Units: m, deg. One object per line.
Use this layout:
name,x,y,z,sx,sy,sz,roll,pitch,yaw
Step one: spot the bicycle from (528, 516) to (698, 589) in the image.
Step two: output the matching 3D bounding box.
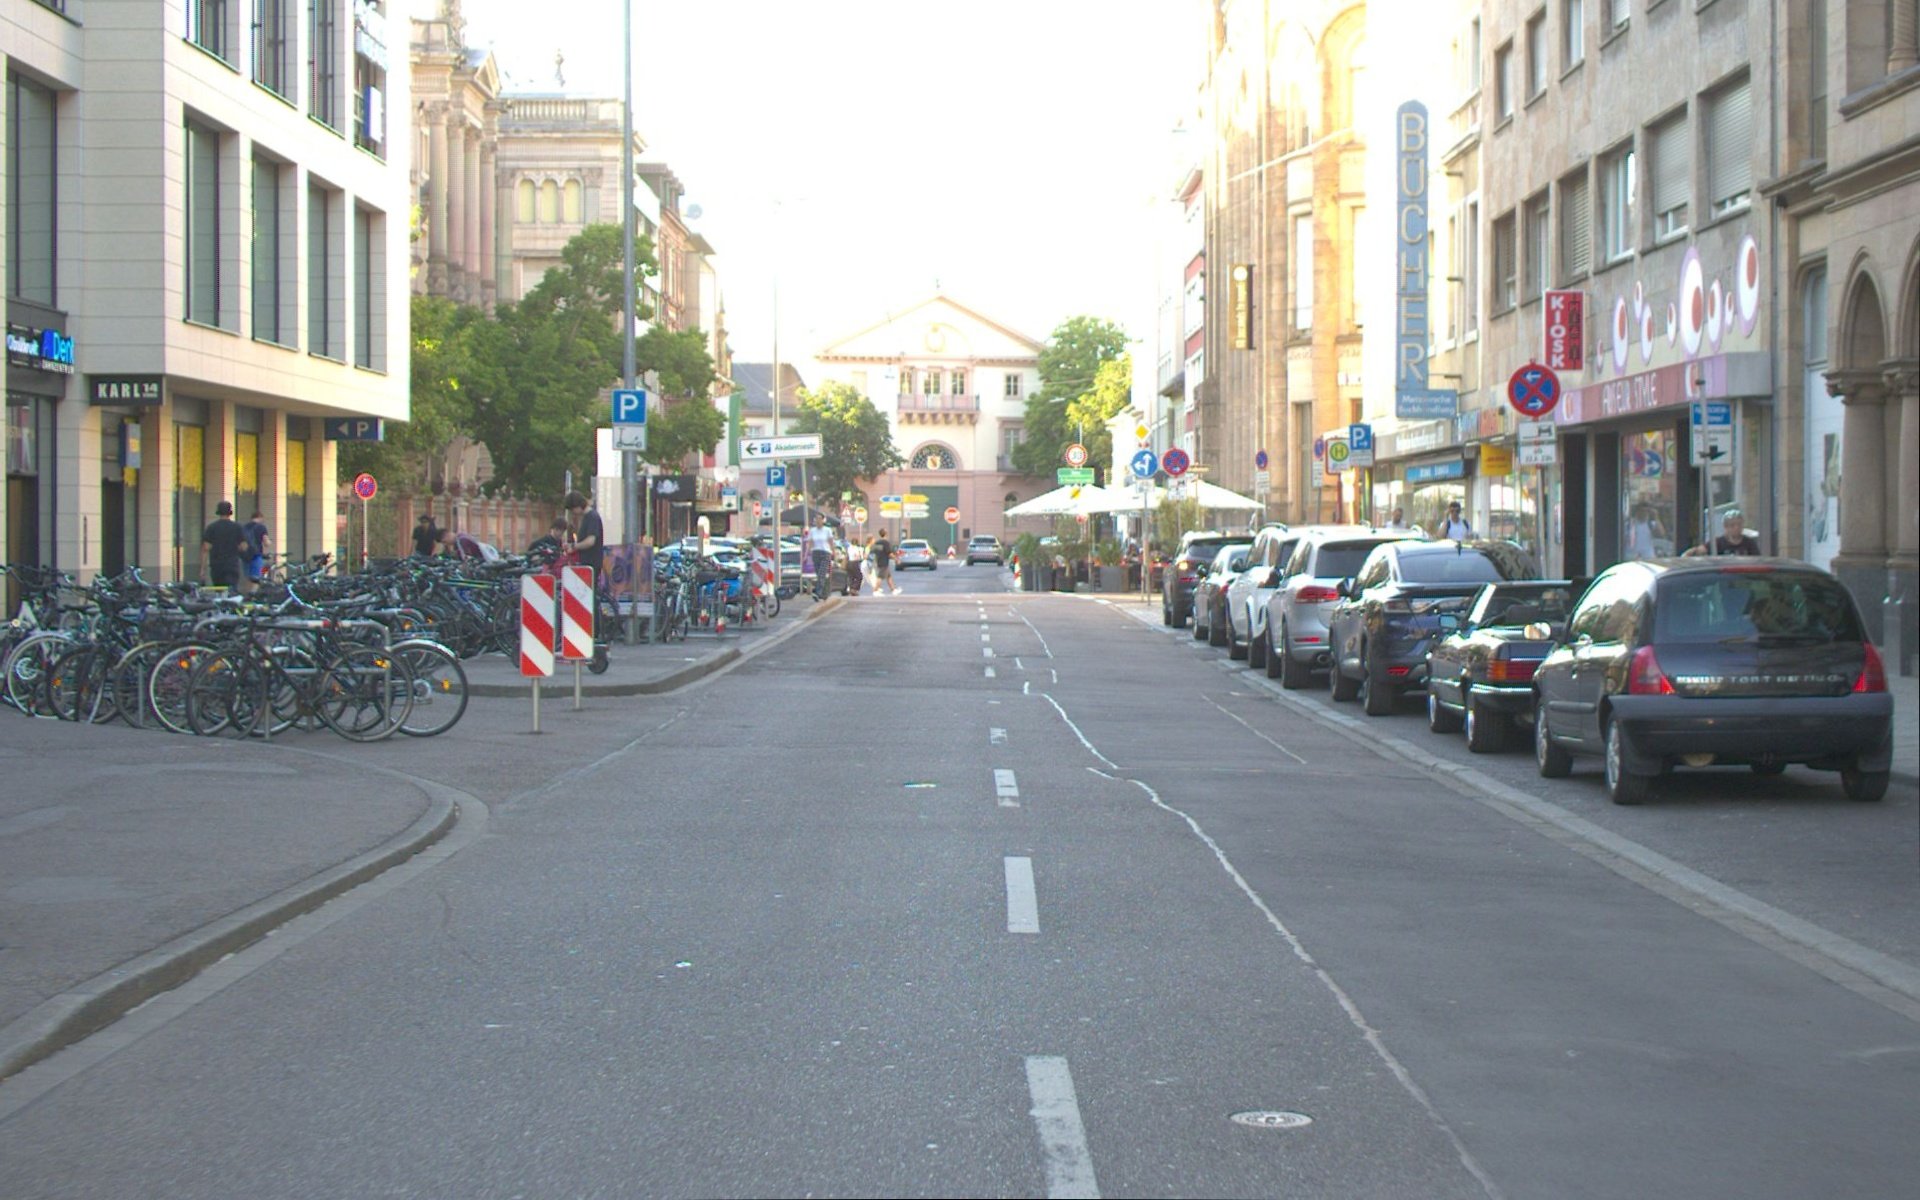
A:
bicycle,-4.546,-0.627,45.139,2.148,0.950,0.640,0,1,2

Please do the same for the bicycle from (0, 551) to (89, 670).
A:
bicycle,-9.395,0.087,32.865,1.967,1.118,0.558,1,1,-28

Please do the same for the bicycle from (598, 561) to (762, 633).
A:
bicycle,-3.793,-0.039,46.622,2.148,0.950,0.640,0,1,2

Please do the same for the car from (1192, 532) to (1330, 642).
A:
car,4.401,-0.223,50.738,1.679,1.542,3.673,-1,1,0

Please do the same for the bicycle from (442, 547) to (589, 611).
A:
bicycle,-6.798,-0.325,52.586,2.148,0.950,0.640,0,1,2

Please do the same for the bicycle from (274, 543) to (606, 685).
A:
bicycle,-4.723,0.109,31.313,2.886,1.251,0.804,0,1,-25

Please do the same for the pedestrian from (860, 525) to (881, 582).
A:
pedestrian,-2.332,-1.203,89.677,0.549,1.481,0.566,0,1,-2

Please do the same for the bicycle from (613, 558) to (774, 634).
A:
bicycle,-3.676,-0.053,47.498,2.148,1.026,0.640,0,1,2

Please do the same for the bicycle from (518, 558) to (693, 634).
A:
bicycle,-4.505,-0.055,43.732,2.148,0.950,0.640,0,1,2

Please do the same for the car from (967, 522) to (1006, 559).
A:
car,1.395,-3.180,183.815,1.993,1.897,4.000,2,1,0

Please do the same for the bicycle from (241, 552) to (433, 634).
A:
bicycle,-7.349,-0.086,40.610,2.148,0.950,0.640,0,1,2

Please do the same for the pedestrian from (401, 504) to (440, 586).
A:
pedestrian,-10.623,-1.081,67.754,0.679,1.615,0.573,0,1,0

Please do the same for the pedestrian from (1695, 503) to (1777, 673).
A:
pedestrian,7.780,-0.125,34.475,0.643,1.684,0.671,0,1,-2

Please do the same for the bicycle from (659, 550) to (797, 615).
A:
bicycle,-3.713,-0.280,55.122,2.148,1.026,0.640,0,1,2

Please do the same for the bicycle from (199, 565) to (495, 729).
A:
bicycle,-4.350,0.338,24.460,1.967,1.118,0.558,1,1,-28

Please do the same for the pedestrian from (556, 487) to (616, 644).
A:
pedestrian,-4.345,-0.404,39.921,0.656,1.817,0.528,0,1,-10

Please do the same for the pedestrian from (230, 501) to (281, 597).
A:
pedestrian,-11.887,-0.862,57.998,0.731,1.615,0.661,0,1,0

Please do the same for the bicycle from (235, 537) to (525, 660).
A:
bicycle,-6.075,-0.028,36.070,2.886,1.251,0.804,0,1,-25

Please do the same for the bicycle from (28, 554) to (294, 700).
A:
bicycle,-6.369,0.217,27.440,1.967,1.118,0.558,1,1,-28

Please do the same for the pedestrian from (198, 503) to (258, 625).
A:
pedestrian,-9.774,-0.483,45.885,0.679,1.615,0.573,0,1,0

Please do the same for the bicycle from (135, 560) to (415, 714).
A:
bicycle,-5.159,0.284,25.934,1.967,1.118,0.558,1,1,-28

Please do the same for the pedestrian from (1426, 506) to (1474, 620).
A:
pedestrian,7.767,-0.590,54.559,0.643,1.794,0.671,0,1,-2

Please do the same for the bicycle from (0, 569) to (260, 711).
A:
bicycle,-6.772,0.333,28.074,1.967,1.118,0.558,1,1,-28

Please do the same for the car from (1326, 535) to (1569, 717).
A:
car,4.398,0.188,31.478,1.679,1.542,3.673,-1,1,0

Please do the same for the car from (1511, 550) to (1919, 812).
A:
car,4.524,0.427,21.052,1.679,1.419,3.673,-1,1,0

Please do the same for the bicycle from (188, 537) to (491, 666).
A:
bicycle,-6.232,-0.003,34.598,2.886,1.251,0.804,0,1,-25

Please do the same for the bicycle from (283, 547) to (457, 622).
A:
bicycle,-7.653,-0.211,44.644,2.148,0.950,0.640,0,1,2

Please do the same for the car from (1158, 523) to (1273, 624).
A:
car,4.404,-0.483,59.647,1.679,1.660,3.673,-1,1,0

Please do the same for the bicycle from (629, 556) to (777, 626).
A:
bicycle,-3.861,-0.144,51.708,2.148,1.026,0.640,0,1,2

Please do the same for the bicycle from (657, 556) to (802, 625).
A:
bicycle,-3.514,-0.150,52.496,2.148,1.026,0.640,0,1,2

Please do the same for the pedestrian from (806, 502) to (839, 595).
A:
pedestrian,-2.688,-1.007,67.196,0.599,1.817,0.452,0,1,-9

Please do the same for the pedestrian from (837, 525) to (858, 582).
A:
pedestrian,-2.903,-1.200,88.677,0.549,1.481,0.566,0,1,-2

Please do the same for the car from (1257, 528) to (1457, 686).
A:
car,4.275,0.033,37.536,1.679,1.608,4.028,-1,1,0

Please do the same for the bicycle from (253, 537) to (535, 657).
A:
bicycle,-6.086,-0.049,37.044,2.886,1.251,0.804,0,1,-25

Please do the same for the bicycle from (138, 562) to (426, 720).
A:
bicycle,-4.964,0.304,25.215,1.967,1.118,0.558,1,1,-28

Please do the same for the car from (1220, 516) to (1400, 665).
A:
car,4.380,-0.157,43.554,1.799,1.762,4.398,-1,1,0

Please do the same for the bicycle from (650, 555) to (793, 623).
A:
bicycle,-3.680,-0.170,53.227,2.148,1.026,0.640,0,1,2

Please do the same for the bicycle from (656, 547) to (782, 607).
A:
bicycle,-4.254,-0.410,60.730,2.148,1.026,0.640,0,1,2

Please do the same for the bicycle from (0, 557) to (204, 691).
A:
bicycle,-7.580,0.207,29.631,1.967,1.118,0.558,1,1,-28

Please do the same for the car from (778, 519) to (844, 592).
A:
car,-4.198,-1.284,97.342,1.710,2.007,4.000,0,1,0

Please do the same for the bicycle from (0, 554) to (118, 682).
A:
bicycle,-8.583,0.155,30.687,1.967,1.118,0.558,1,1,-28

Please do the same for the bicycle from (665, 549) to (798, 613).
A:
bicycle,-3.779,-0.318,56.927,2.148,1.026,0.640,0,1,2

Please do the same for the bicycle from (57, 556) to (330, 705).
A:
bicycle,-5.965,0.242,26.796,1.967,1.118,0.558,1,1,-28

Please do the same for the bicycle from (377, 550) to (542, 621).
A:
bicycle,-6.838,-0.200,47.025,2.148,0.950,0.640,0,1,2

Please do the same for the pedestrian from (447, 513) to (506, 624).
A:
pedestrian,-6.703,-0.439,47.666,0.751,1.524,0.485,0,1,0

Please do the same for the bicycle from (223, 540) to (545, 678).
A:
bicycle,-5.416,0.066,32.403,2.886,1.251,0.804,0,1,-25

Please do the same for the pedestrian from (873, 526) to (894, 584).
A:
pedestrian,-1.963,-1.162,88.184,0.549,1.481,0.566,0,1,-2

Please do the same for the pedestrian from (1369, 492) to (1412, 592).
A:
pedestrian,7.519,-1.012,60.010,0.643,1.740,0.671,0,1,-2

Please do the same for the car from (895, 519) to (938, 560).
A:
car,-2.078,-2.907,165.221,1.993,1.897,4.000,2,1,0

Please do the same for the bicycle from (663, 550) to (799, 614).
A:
bicycle,-3.723,-0.296,55.892,2.148,1.026,0.640,0,1,2

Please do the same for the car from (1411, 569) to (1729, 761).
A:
car,4.571,0.443,26.285,1.679,1.286,4.047,-1,1,0

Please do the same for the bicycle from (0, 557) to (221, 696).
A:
bicycle,-7.226,0.225,28.681,1.967,1.118,0.558,1,1,-28
